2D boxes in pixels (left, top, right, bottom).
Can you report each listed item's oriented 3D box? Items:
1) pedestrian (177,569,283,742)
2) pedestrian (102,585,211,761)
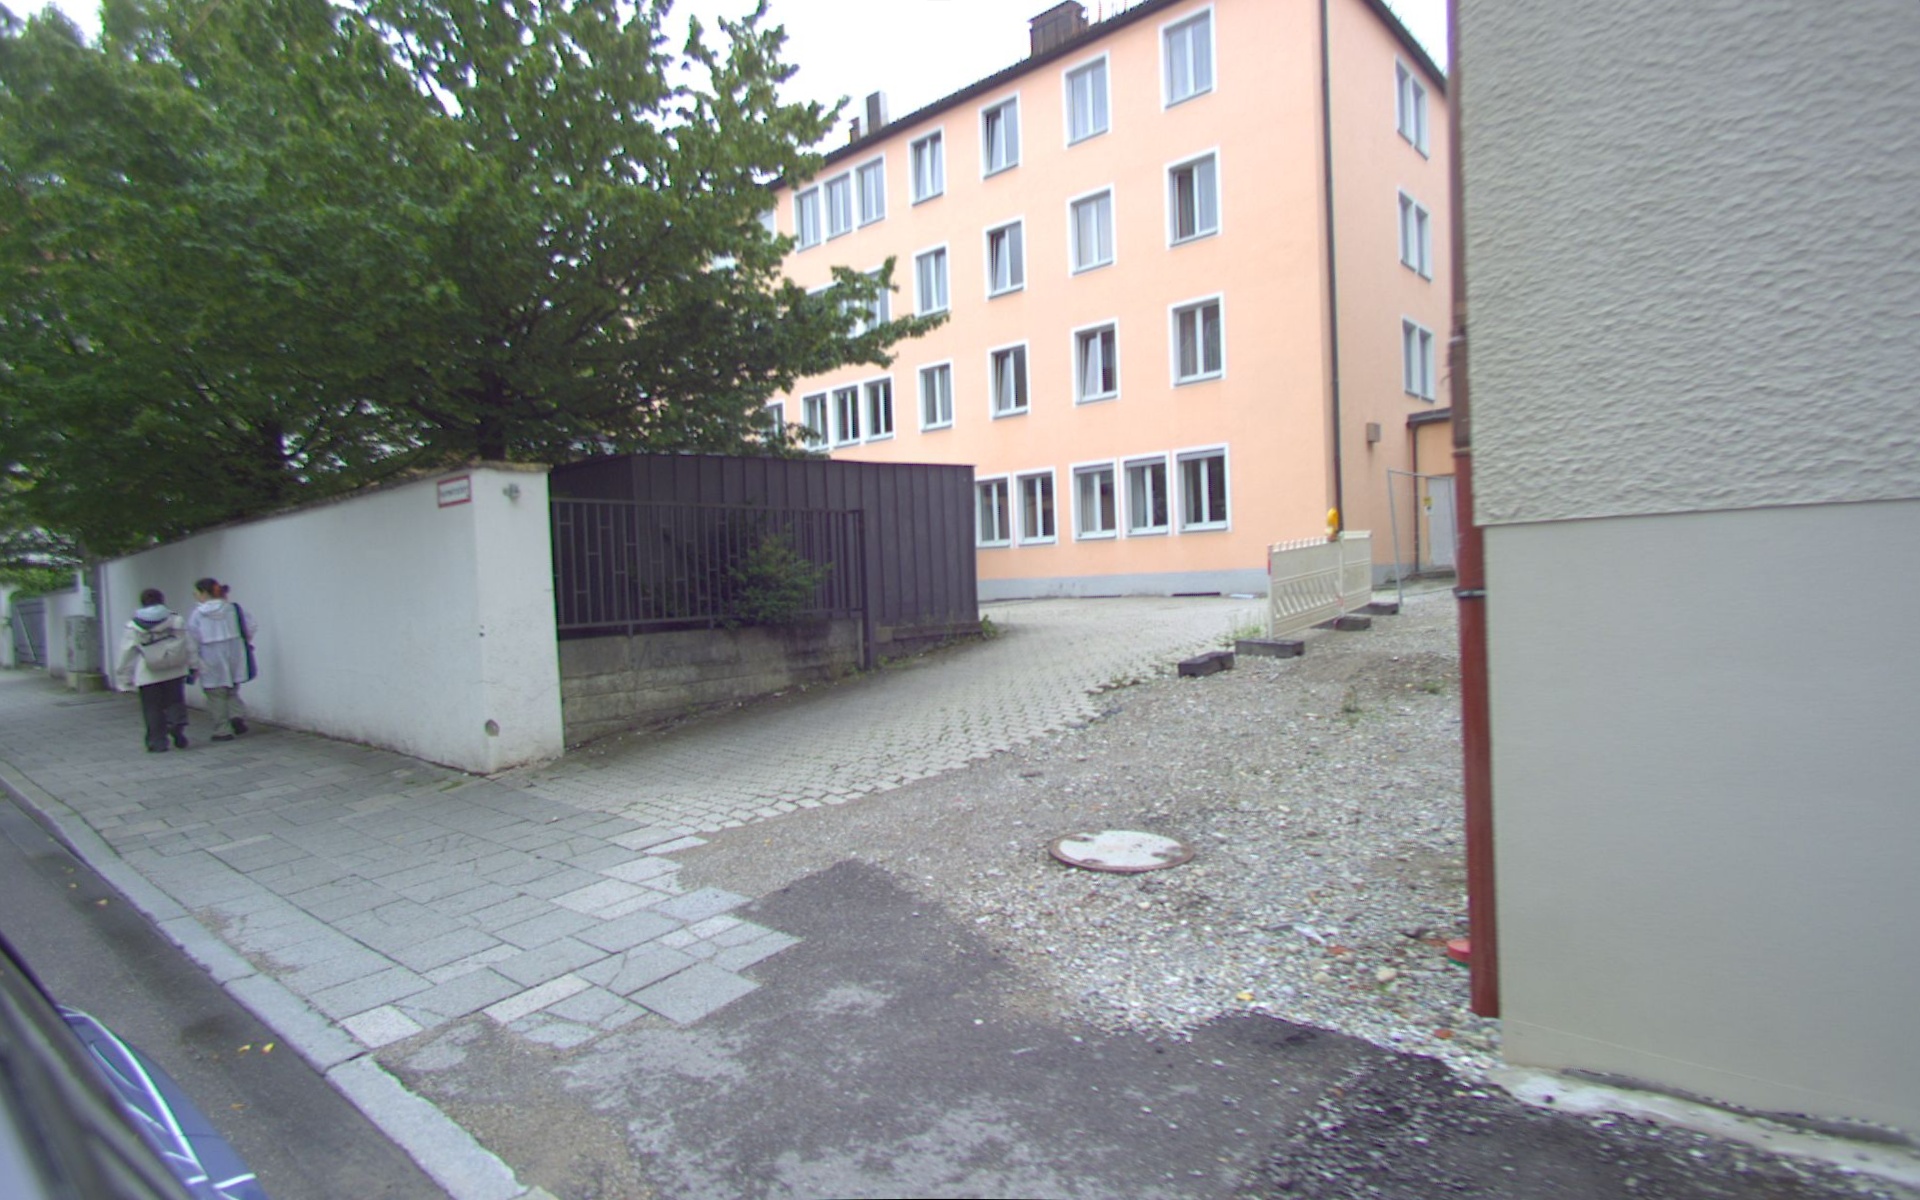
[{"bbox_3d":[-7.367,0.536,10.215,0.687,1.632,0.607,-1,4,41],"label":"pedestrian"},{"bbox_3d":[-7.726,0.671,9.733,0.713,1.590,0.616,-1,3,41],"label":"pedestrian"}]
